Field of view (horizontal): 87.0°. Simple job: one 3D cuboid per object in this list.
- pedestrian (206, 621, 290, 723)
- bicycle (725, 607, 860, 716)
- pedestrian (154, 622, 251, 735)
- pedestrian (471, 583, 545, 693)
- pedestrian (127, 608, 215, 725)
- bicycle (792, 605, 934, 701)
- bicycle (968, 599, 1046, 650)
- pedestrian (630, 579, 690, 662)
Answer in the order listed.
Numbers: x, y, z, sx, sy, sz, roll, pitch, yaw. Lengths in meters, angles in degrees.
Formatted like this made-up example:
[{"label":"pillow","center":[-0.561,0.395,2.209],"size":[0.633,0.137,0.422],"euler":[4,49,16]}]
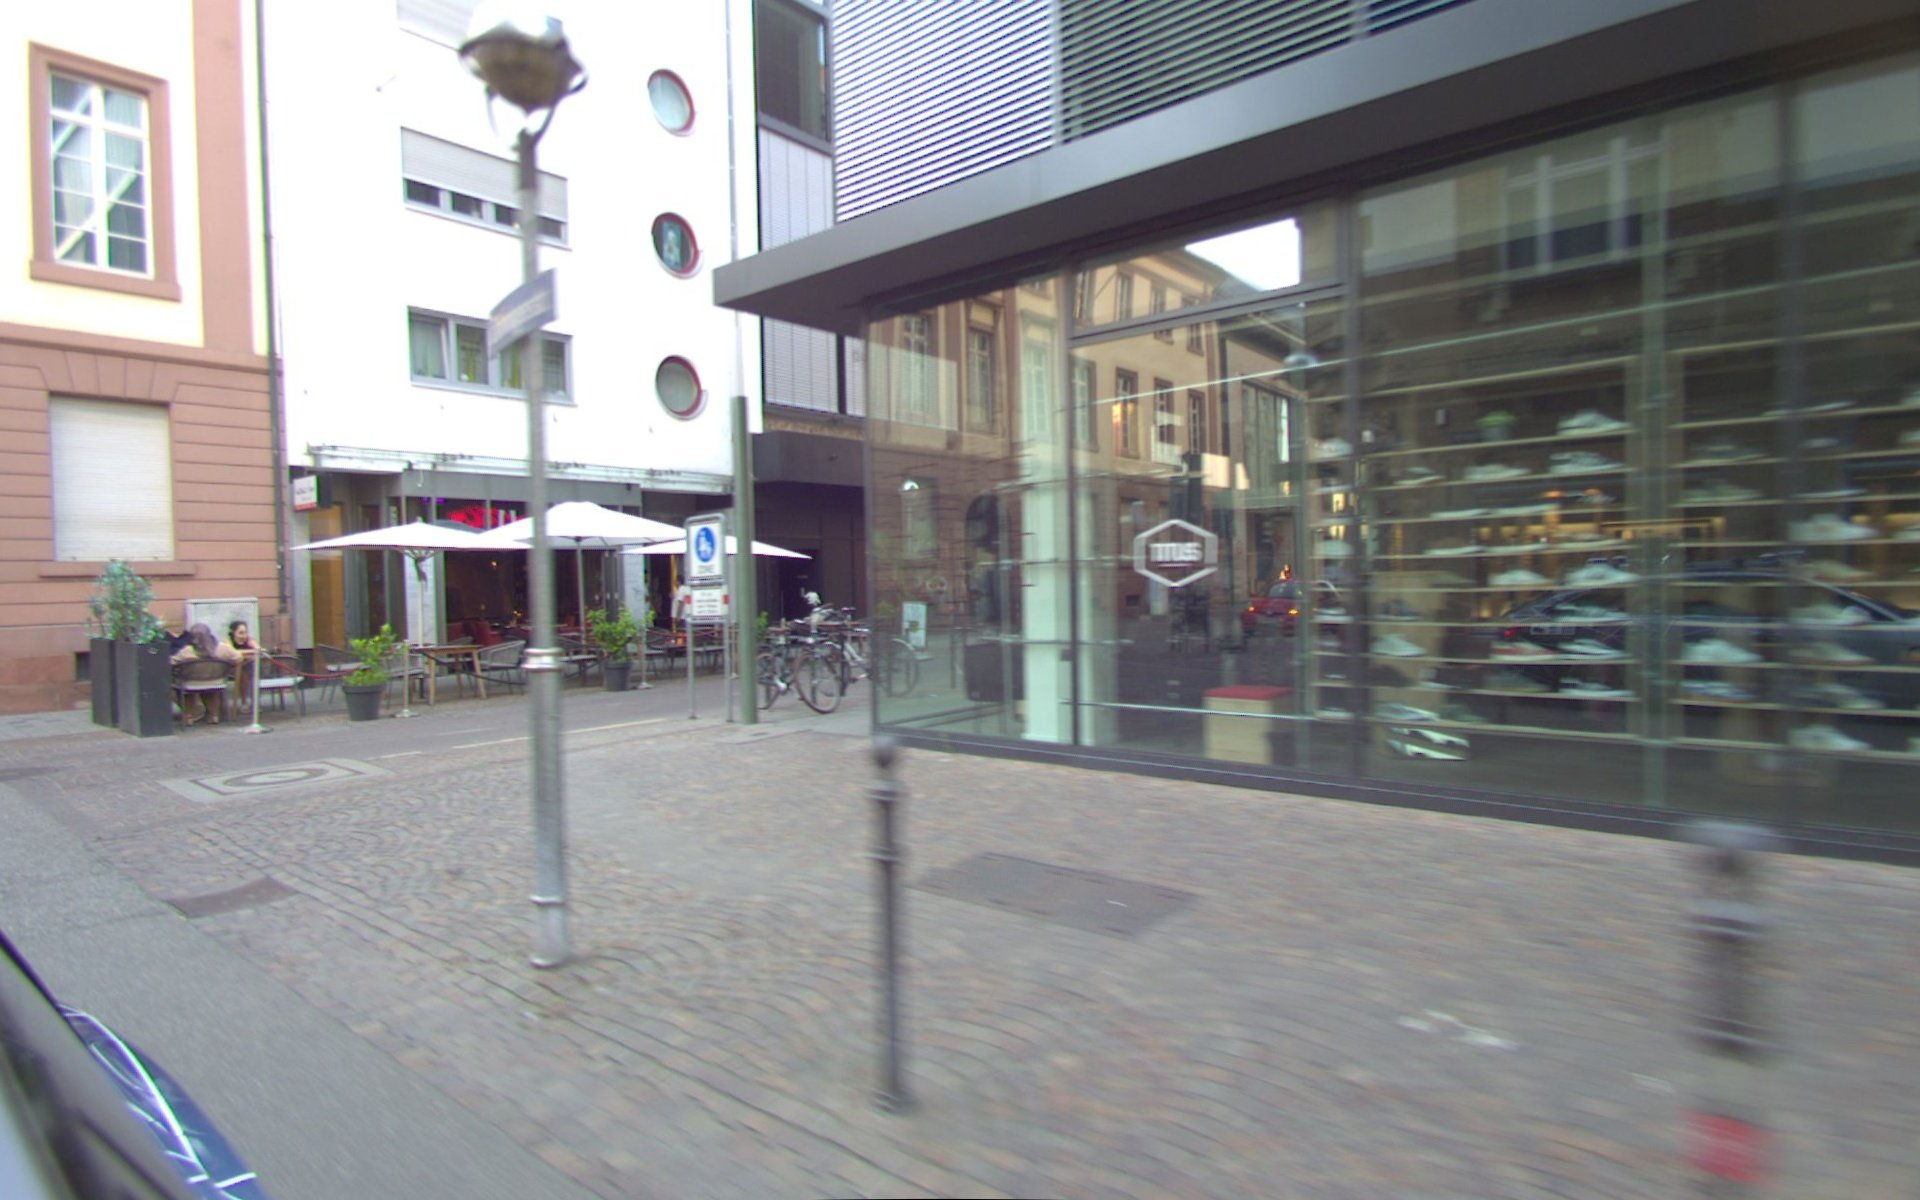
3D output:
[{"label":"pedestrian","center":[-9.040,0.886,12.852],"size":[0.791,1.192,0.665],"euler":[1,2,38]},{"label":"bicycle","center":[-1.931,0.695,11.515],"size":[1.701,1.145,0.461],"euler":[-4,-1,39]},{"label":"pedestrian","center":[-8.731,0.879,11.671],"size":[0.790,1.192,0.666],"euler":[1,2,34]},{"label":"pedestrian","center":[-7.106,0.582,15.919],"size":[0.790,1.661,0.717],"euler":[-1,1,34]},{"label":"pedestrian","center":[-9.679,0.784,12.420],"size":[0.791,1.341,0.665],"euler":[1,2,38]},{"label":"bicycle","center":[-1.268,0.675,12.859],"size":[2.014,1.130,0.461],"euler":[-4,-1,39]},{"label":"bicycle","center":[1.084,0.548,23.737],"size":[1.952,1.082,0.461],"euler":[2,3,39]},{"label":"pedestrian","center":[-6.199,0.419,20.943],"size":[0.853,1.671,0.794],"euler":[-1,1,23]}]
